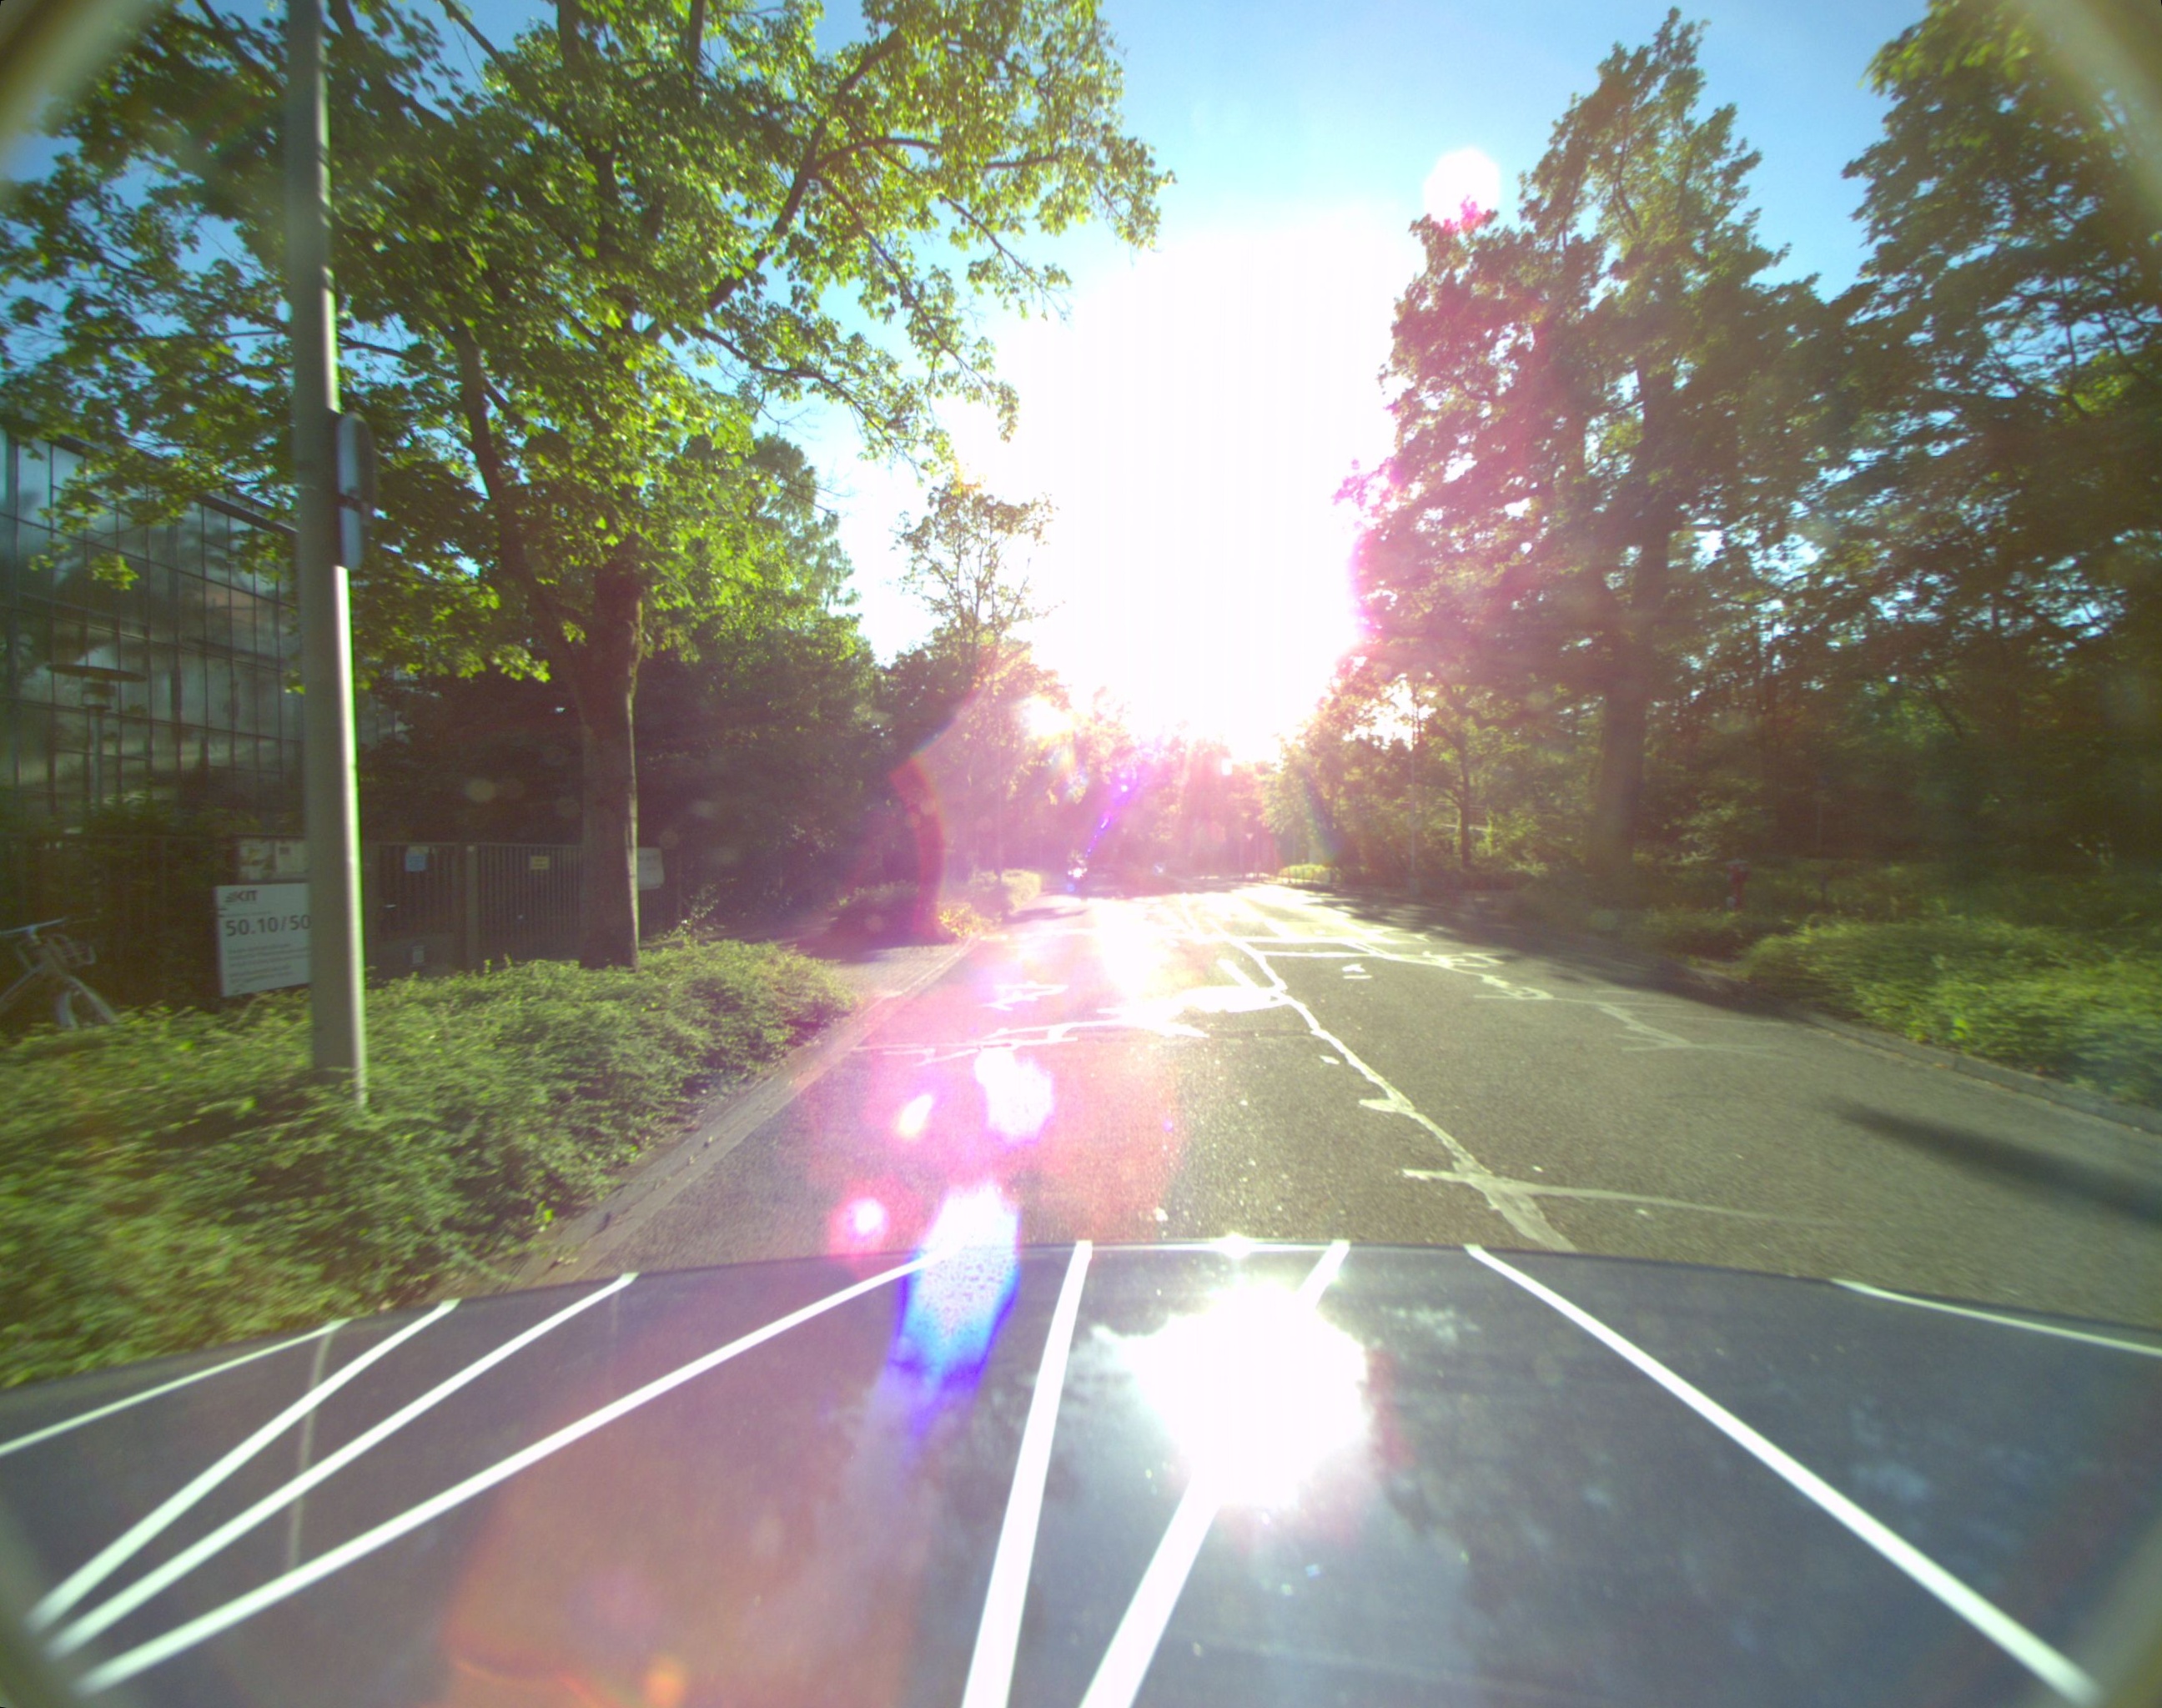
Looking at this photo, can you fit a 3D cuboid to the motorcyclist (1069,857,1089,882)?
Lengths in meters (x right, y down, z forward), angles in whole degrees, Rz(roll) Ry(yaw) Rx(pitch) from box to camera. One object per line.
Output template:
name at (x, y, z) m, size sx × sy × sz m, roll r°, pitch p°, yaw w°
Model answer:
motorcyclist at (-0.104, 0.933, 45.696) m, size 1.138 × 1.419 × 1.567 m, roll -2°, pitch 0°, yaw 0°

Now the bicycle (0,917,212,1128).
bicycle at (-7.108, 1.068, 4.560) m, size 0.884 × 1.193 × 2.330 m, roll 1°, pitch 0°, yaw 25°

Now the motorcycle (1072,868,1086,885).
motorcycle at (-0.116, 1.330, 45.817) m, size 0.807 × 0.907 × 2.712 m, roll -2°, pitch 0°, yaw 0°
